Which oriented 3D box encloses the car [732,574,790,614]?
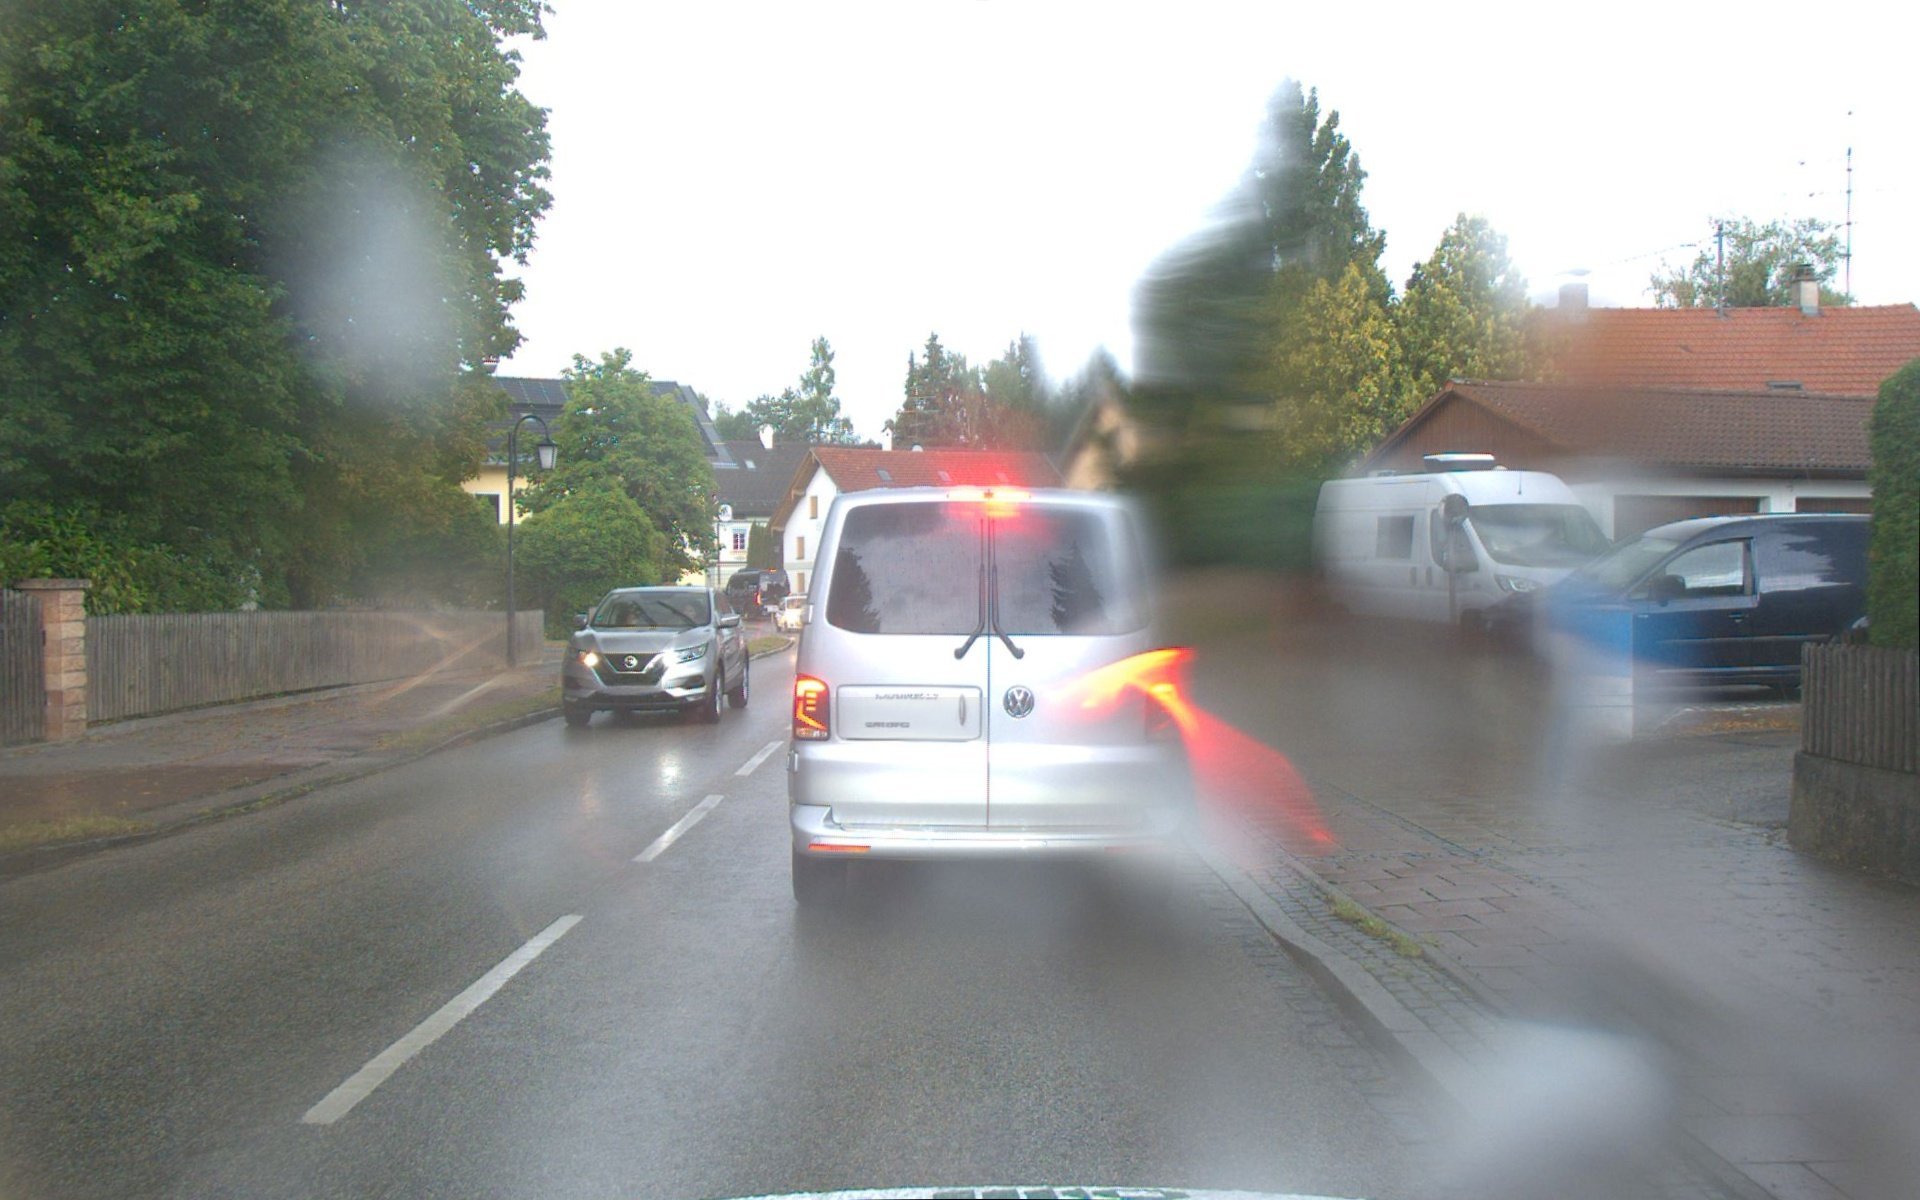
[{"bbox_3d":[-10.846,-0.326,89.938,1.968,2.049,3.969,2,-1,-24],"label":"car"}]

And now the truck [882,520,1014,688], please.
[{"bbox_3d":[-0.273,0.106,34.430,2.425,3.128,6.294,1,-1,-1],"label":"truck"}]

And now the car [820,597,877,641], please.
[{"bbox_3d":[-3.635,0.612,53.639,1.745,1.333,3.772,1,-1,-4],"label":"car"}]

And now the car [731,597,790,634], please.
[{"bbox_3d":[-10.857,0.823,89.751,1.969,1.961,3.966,2,-1,-26],"label":"car"}]

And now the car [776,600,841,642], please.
[{"bbox_3d":[-7.776,1.038,84.564,1.970,2.049,3.964,2,-1,-28],"label":"car"}]

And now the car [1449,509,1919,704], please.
[{"bbox_3d":[7.098,0.015,16.377,4.012,1.782,1.693,-1,2,-4],"label":"car"}]

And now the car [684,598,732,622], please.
[{"bbox_3d":[-15.291,0.592,100.139,1.760,1.333,3.741,2,-1,-28],"label":"car"}]

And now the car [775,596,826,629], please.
[{"bbox_3d":[-6.776,0.535,70.093,1.748,1.333,3.765,2,-1,-11],"label":"car"}]

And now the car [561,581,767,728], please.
[{"bbox_3d":[-3.478,0.612,20.162,1.790,1.586,4.176,-1,-1,-1],"label":"car"}]

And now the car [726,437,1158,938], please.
[{"bbox_3d":[-0.013,0.383,8.920,1.763,2.049,4.001,1,-1,2],"label":"car"}]

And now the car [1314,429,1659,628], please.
[{"bbox_3d":[6.591,-0.798,21.411,1.960,2.211,4.935,2,-1,-14],"label":"car"}]
